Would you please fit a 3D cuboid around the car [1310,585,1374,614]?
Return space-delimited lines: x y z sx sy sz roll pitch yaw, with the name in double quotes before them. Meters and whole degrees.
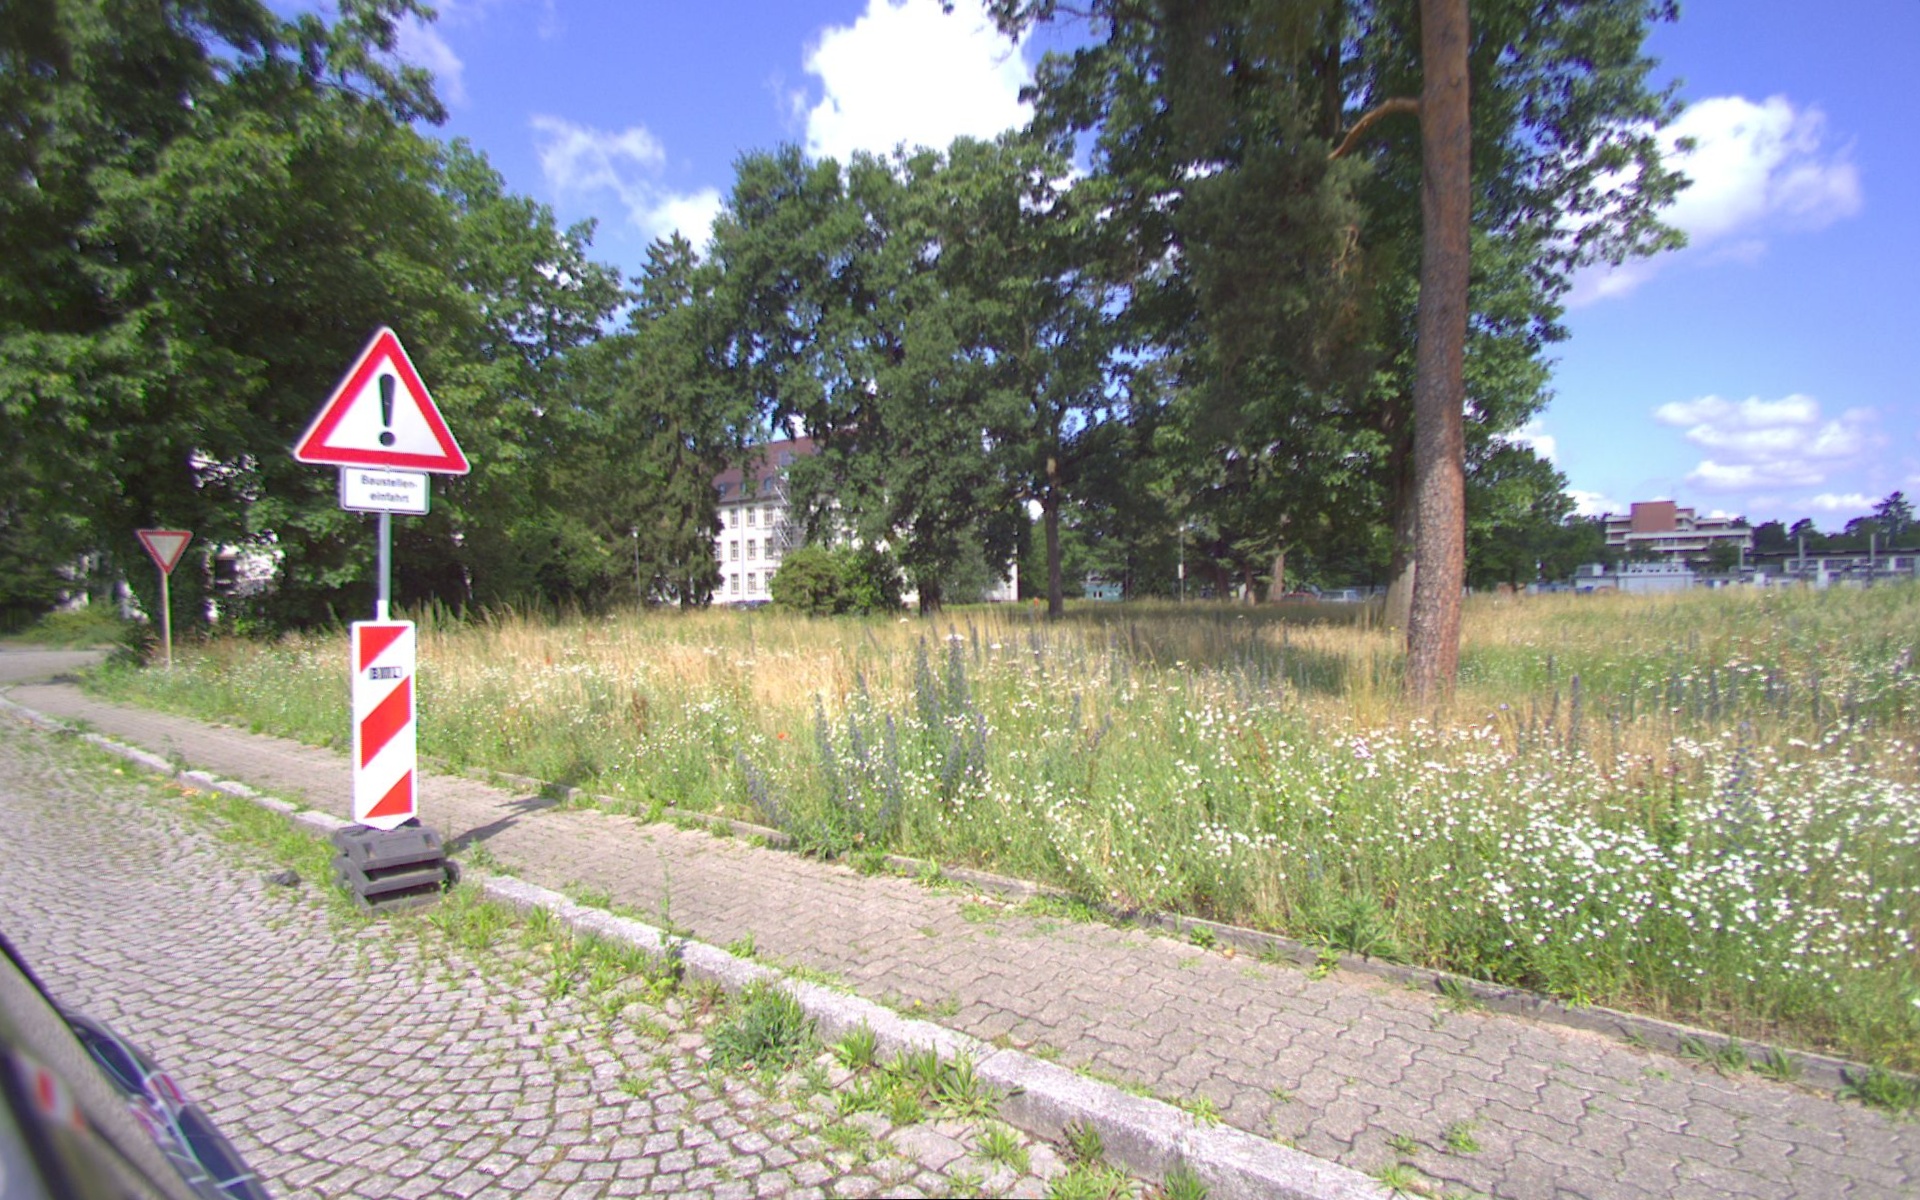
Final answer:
"car" 19.446 -0.016 51.490 1.898 1.423 4.018 -1 -1 39
